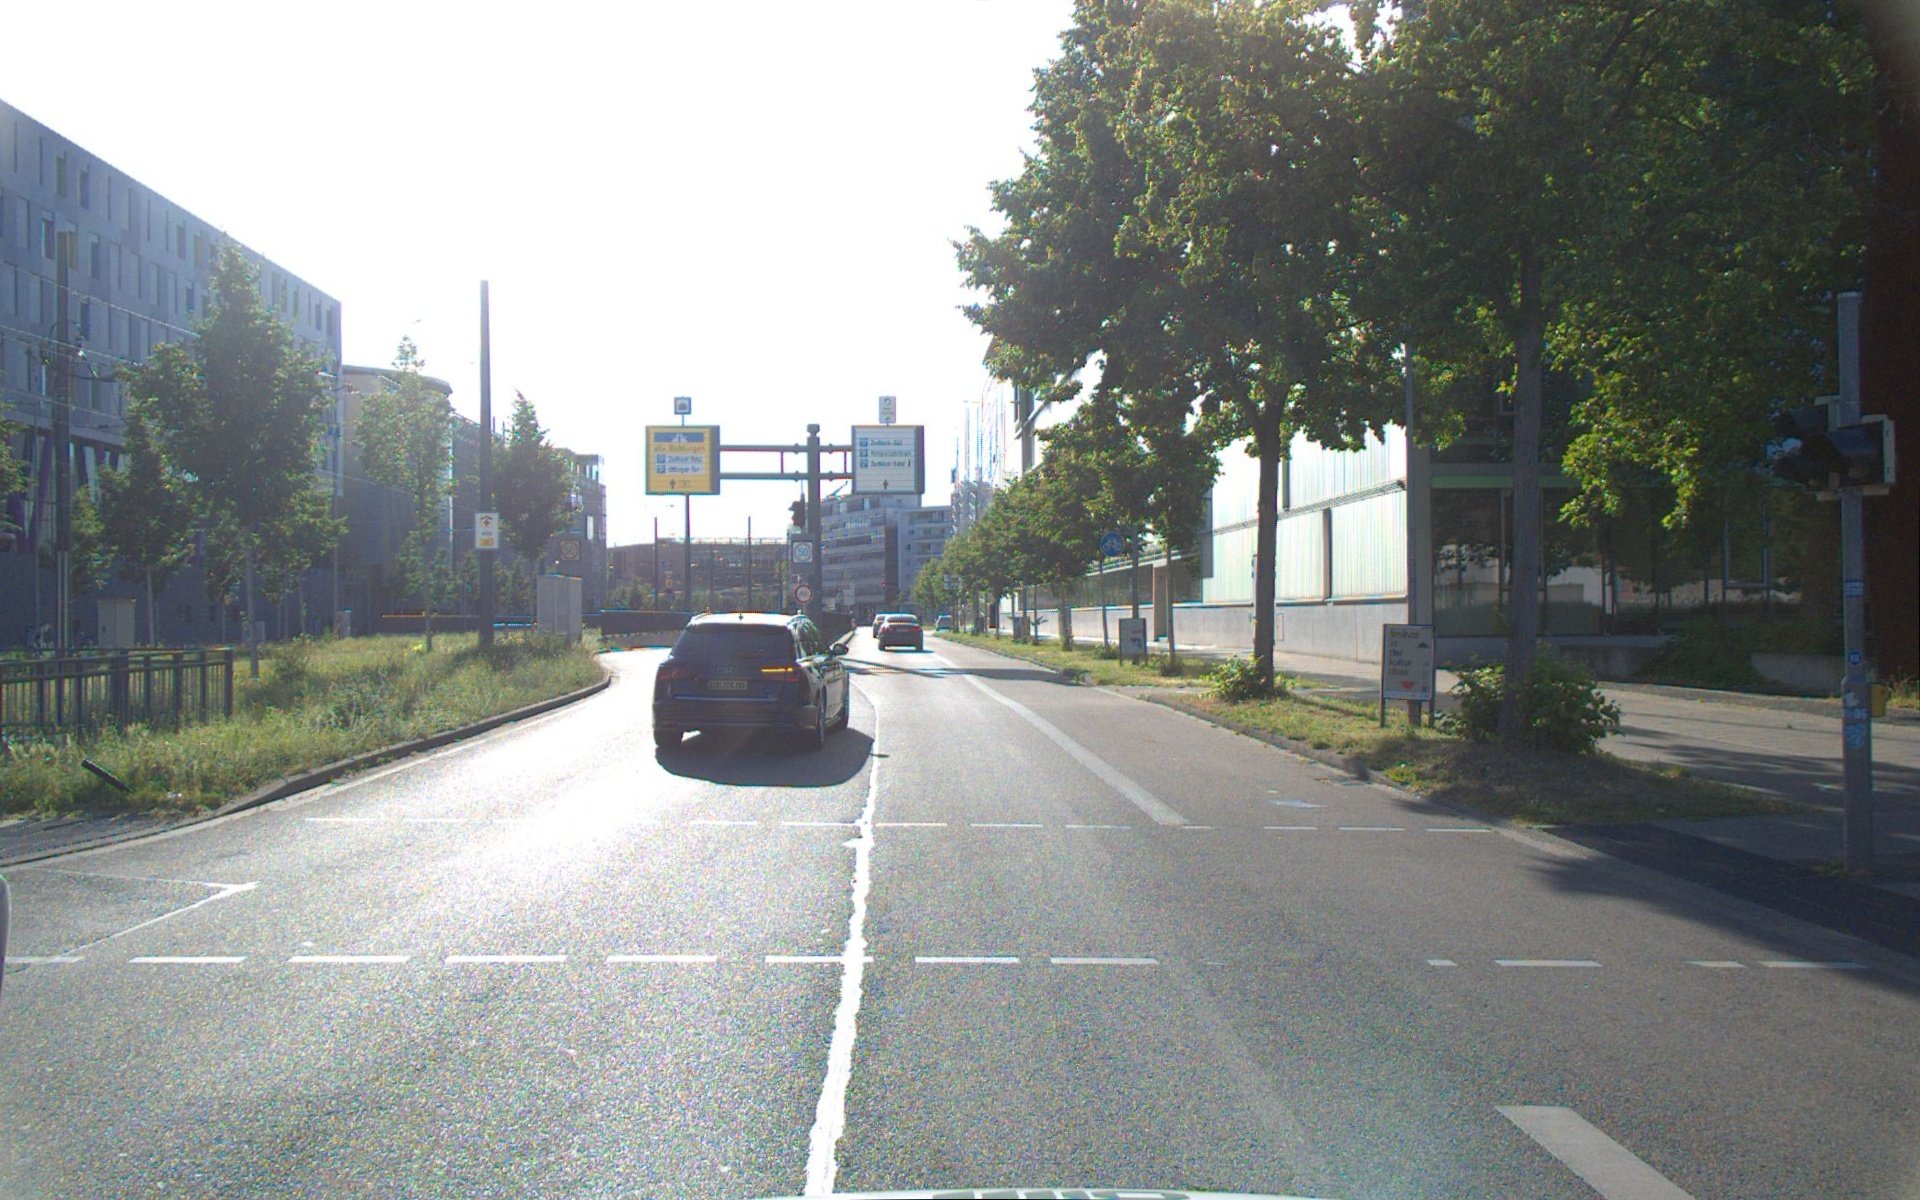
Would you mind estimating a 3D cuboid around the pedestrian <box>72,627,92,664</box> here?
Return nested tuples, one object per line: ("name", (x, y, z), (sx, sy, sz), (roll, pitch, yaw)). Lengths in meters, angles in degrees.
("pedestrian", (-48.334, 2.498, 91.079), (0.721, 2.049, 0.689), (0, -1, -3))

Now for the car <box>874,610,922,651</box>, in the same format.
("car", (-2.484, 1.206, 66.028), (1.816, 1.573, 3.997), (1, -1, -3))

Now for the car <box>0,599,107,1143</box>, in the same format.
("car", (-3.595, 0.721, 2.768), (1.762, 1.553, 4.909), (1, -1, 0))

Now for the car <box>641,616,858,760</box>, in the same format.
("car", (-2.299, 0.937, 19.262), (1.775, 1.452, 4.690), (-1, -1, 2))

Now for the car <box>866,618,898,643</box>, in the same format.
("car", (-4.969, 1.904, 105.223), (1.954, 1.491, 3.997), (1, 0, -4))
